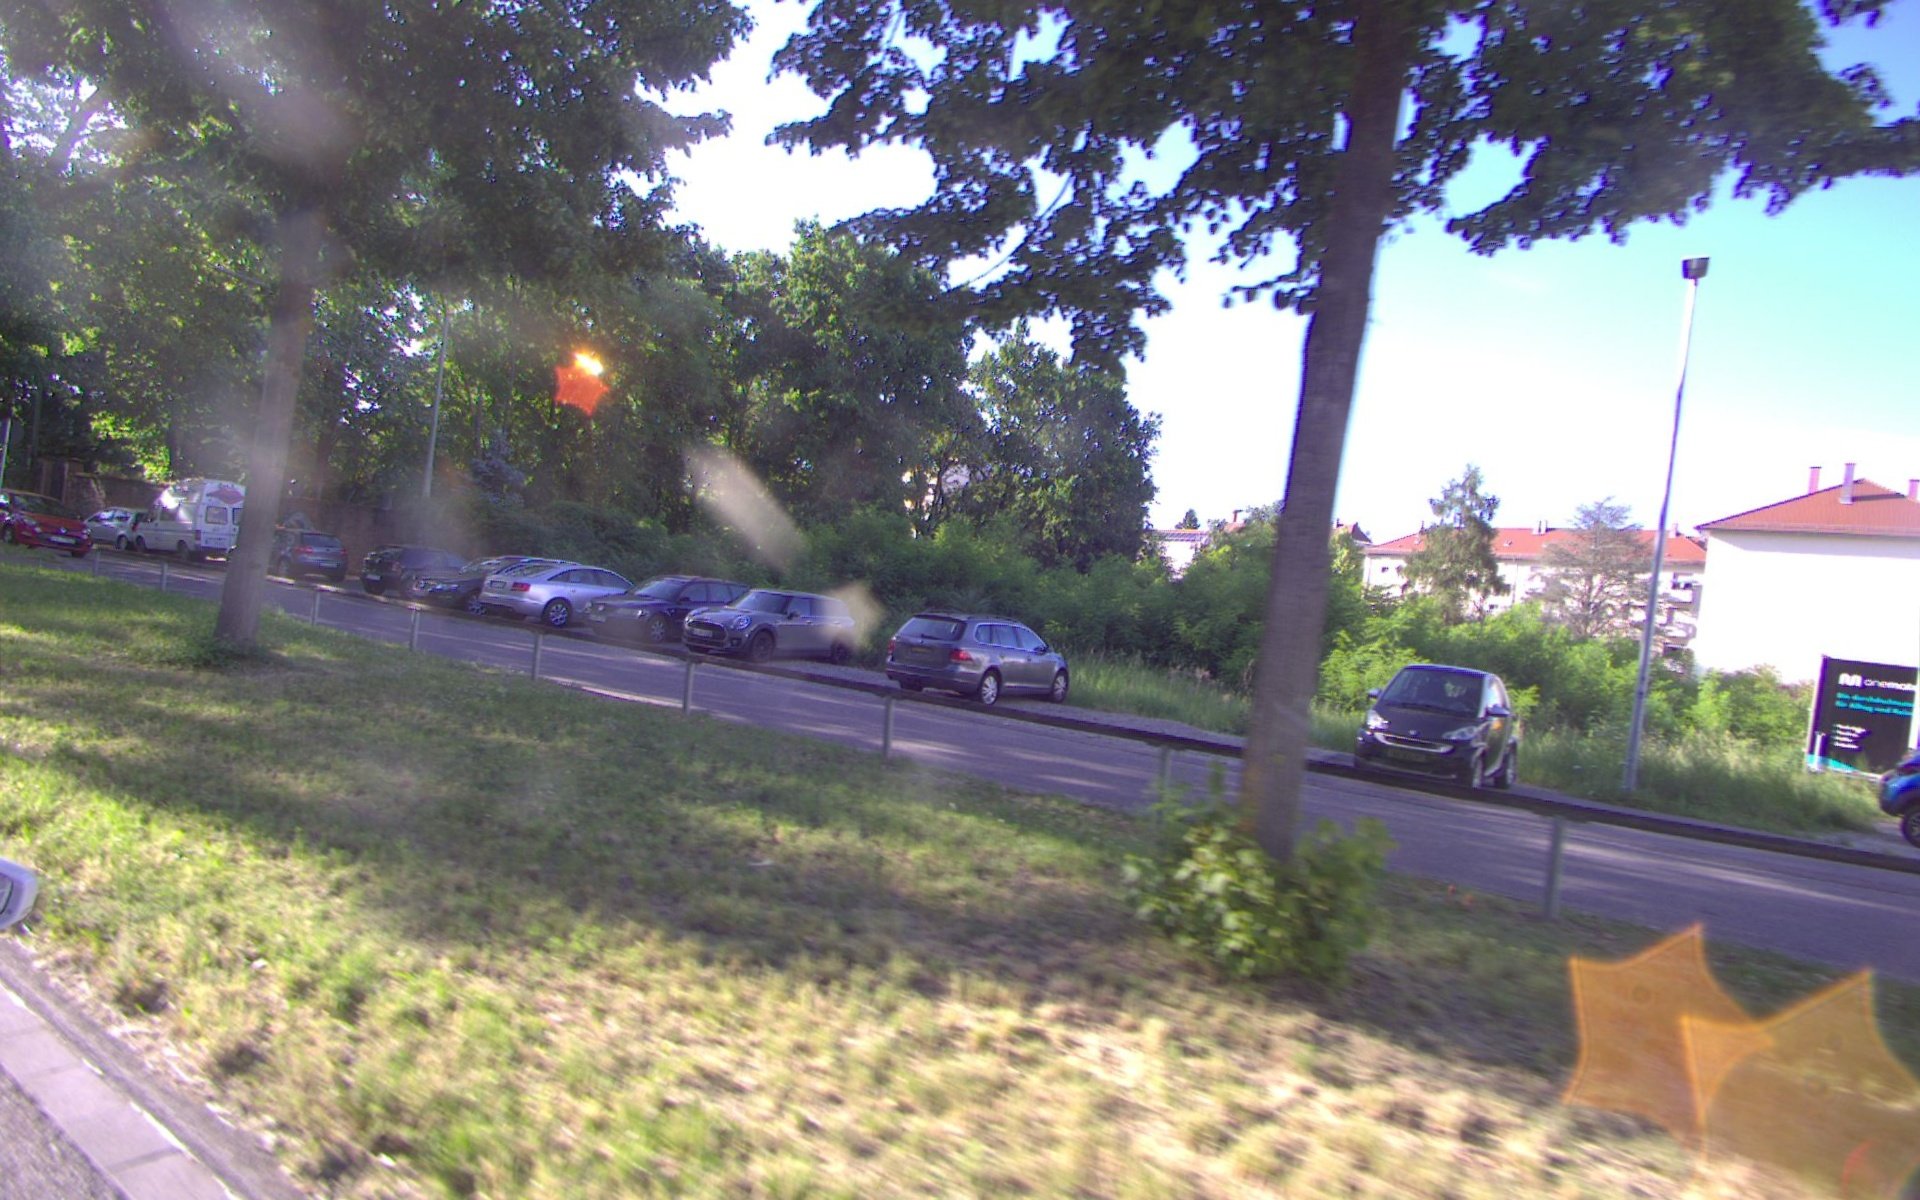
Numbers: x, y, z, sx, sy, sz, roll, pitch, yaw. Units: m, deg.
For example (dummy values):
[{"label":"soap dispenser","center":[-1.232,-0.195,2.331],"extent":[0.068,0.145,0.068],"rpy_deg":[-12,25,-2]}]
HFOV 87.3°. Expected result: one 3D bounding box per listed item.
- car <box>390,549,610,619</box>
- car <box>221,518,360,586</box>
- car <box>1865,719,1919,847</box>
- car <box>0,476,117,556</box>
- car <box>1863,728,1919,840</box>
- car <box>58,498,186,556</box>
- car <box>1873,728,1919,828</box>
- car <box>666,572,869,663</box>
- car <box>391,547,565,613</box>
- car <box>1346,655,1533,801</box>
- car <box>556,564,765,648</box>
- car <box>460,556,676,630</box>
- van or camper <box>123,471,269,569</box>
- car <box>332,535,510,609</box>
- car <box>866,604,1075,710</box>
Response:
[{"label":"car","center":[-11.455,-0.362,25.399],"extent":[1.967,1.425,4.719],"rpy_deg":[7,2,32]},{"label":"car","center":[-20.509,-1.477,30.807],"extent":[3.934,1.593,1.995],"rpy_deg":[6,0,32]},{"label":"car","center":[13.841,2.590,12.307],"extent":[1.585,1.565,3.778],"rpy_deg":[6,1,-38]},{"label":"car","center":[-24.416,-2.264,26.376],"extent":[3.929,1.658,2.000],"rpy_deg":[7,-2,26]},{"label":"car","center":[15.630,2.923,14.323],"extent":[1.740,1.553,3.840],"rpy_deg":[9,-3,-39]},{"label":"car","center":[-30.117,-2.616,36.155],"extent":[3.926,1.640,1.842],"rpy_deg":[7,3,21]},{"label":"car","center":[17.294,3.135,15.931],"extent":[1.711,1.558,3.908],"rpy_deg":[9,-3,-39]},{"label":"car","center":[-3.864,0.433,20.916],"extent":[1.752,1.517,4.198],"rpy_deg":[7,0,29]},{"label":"car","center":[-12.985,-0.496,27.329],"extent":[1.593,1.410,3.990],"rpy_deg":[6,1,30]},{"label":"car","center":[6.408,1.627,13.334],"extent":[1.442,1.569,2.761],"rpy_deg":[6,0,41]},{"label":"car","center":[-6.561,0.175,22.529],"extent":[1.874,1.497,4.333],"rpy_deg":[8,2,28]},{"label":"car","center":[-9.124,-0.135,23.748],"extent":[1.968,1.430,4.376],"rpy_deg":[7,3,34]},{"label":"van or camper","center":[-25.430,-2.673,33.448],"extent":[4.879,2.768,1.995],"rpy_deg":[6,2,29]},{"label":"car","center":[-14.910,-0.726,28.067],"extent":[1.734,1.523,3.998],"rpy_deg":[7,-1,26]},{"label":"car","center":[0.315,0.996,17.734],"extent":[1.687,1.486,4.082],"rpy_deg":[6,0,33]}]
